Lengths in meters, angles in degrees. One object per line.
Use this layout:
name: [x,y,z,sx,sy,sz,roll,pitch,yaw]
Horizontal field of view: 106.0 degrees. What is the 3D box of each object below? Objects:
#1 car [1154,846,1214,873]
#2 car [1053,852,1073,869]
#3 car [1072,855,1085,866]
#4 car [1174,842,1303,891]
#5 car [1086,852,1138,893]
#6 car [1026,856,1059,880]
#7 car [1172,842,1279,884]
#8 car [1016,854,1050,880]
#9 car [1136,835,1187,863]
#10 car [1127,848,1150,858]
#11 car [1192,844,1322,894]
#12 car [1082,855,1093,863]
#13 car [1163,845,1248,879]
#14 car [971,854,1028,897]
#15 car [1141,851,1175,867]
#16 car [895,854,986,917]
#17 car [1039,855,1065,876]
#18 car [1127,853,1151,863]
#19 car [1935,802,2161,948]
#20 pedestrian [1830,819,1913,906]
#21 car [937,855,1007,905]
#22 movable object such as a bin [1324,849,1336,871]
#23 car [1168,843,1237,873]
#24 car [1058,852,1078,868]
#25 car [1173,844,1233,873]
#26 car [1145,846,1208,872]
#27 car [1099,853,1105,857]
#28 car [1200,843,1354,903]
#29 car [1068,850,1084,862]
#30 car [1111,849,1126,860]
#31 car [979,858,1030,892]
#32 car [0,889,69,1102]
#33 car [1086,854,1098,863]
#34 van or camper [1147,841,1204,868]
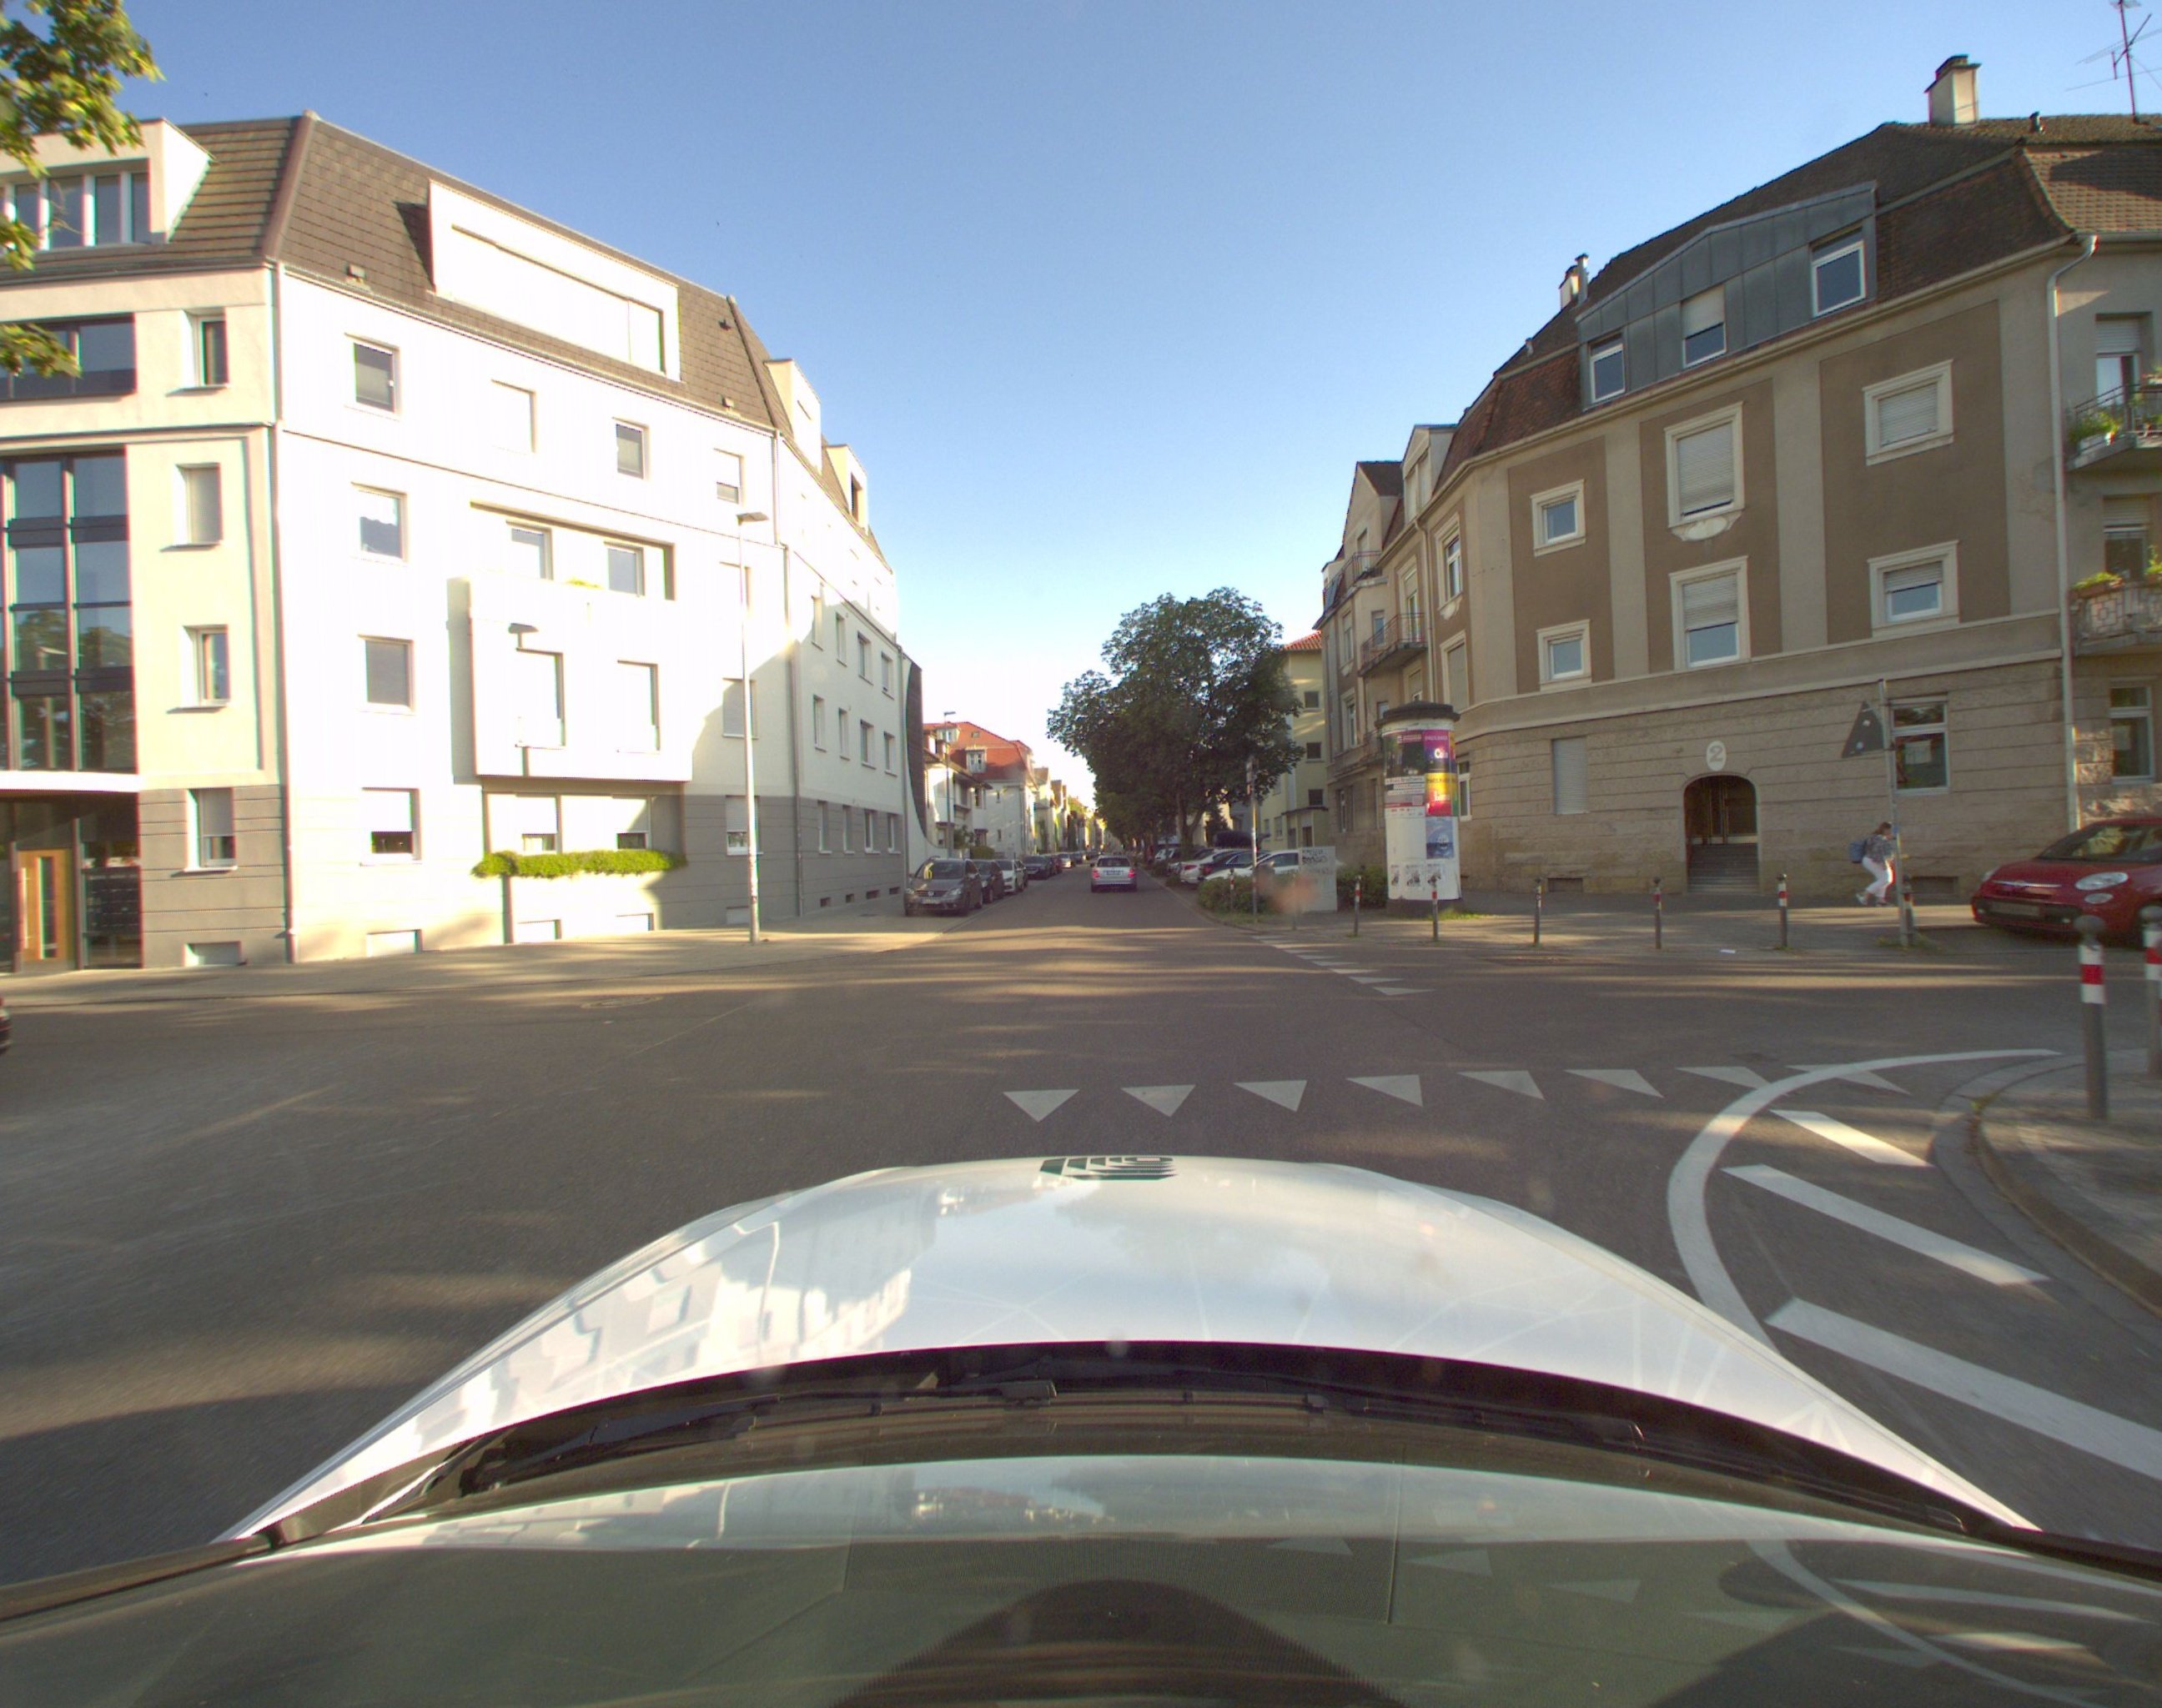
car: [6.859,0.365,54.448,3.717,1.558,1.726,-3,0,1]
car: [-1.665,0.588,76.640,1.652,1.499,3.756,-2,0,3]
car: [-0.354,1.001,120.270,1.792,1.482,3.859,-2,0,2]
car: [5.953,0.452,31.172,4.468,1.525,1.951,-3,1,-4]
car: [1.295,0.717,32.450,1.808,1.473,4.222,-2,-1,5]
car: [-2.639,0.947,56.387,1.776,1.498,4.703,-2,0,3]
car: [6.476,0.415,36.847,4.510,1.641,1.874,-3,0,1]
car: [-2.903,0.795,50.238,1.848,1.498,4.653,-2,0,0]
car: [9.293,-0.556,93.953,5.525,2.968,2.471,-2,0,-1]
car: [9.631,-0.201,137.089,3.828,1.482,1.806,-2,0,3]
car: [6.097,0.506,28.505,4.128,1.448,1.673,-3,0,1]
car: [1.176,0.892,144.145,1.792,1.387,3.608,-2,0,2]
car: [6.555,0.415,43.105,4.175,1.558,1.874,-3,0,1]
car: [-3.292,0.842,33.566,1.878,1.591,4.090,-2,0,0]
car: [8.560,0.568,91.123,3.583,1.659,1.650,-2,0,0]
car: [-3.966,0.842,23.651,1.878,1.591,4.090,-2,0,0]
car: [-2.208,0.882,62.159,1.652,1.488,3.756,-2,0,3]
car: [9.288,0.625,130.770,3.828,1.482,1.806,-2,0,3]
car: [14.370,0.192,10.807,4.056,1.740,1.814,-2,2,3]
pedestrian: [14.575,0.145,15.034,0.812,1.545,0.745,-2,1,16]
car: [-3.781,0.851,28.988,1.878,1.591,4.090,-2,0,0]
movable object such as a bin: [12.342,0.315,40.389,0.454,1.086,0.532,-2,-2,3]
car: [7.273,0.234,49.034,3.908,1.558,1.727,-3,0,4]
car: [-1.330,0.608,86.066,1.792,1.644,3.859,-2,0,2]
car: [7.747,0.278,51.806,3.535,1.654,1.726,-3,0,1]
car: [7.214,0.362,61.757,4.608,1.836,1.955,-2,0,2]
car: [6.492,0.302,254.864,1.792,1.387,3.608,-2,0,2]
car: [5.633,0.534,23.752,4.034,1.505,1.862,-3,0,1]
car: [-0.615,0.279,104.355,1.792,1.482,3.859,-2,0,2]
car: [5.257,0.101,113.105,1.808,1.473,4.222,-2,-1,5]
car: [-3.547,0.940,38.342,1.751,1.447,4.145,-2,0,3]
car: [-11.010,1.210,6.079,4.803,1.669,1.790,-2,-1,2]
car: [1.859,0.656,134.427,1.792,1.387,3.608,-2,0,2]
van or camper: [7.442,0.058,64.342,4.292,2.013,2.003,-2,0,5]
